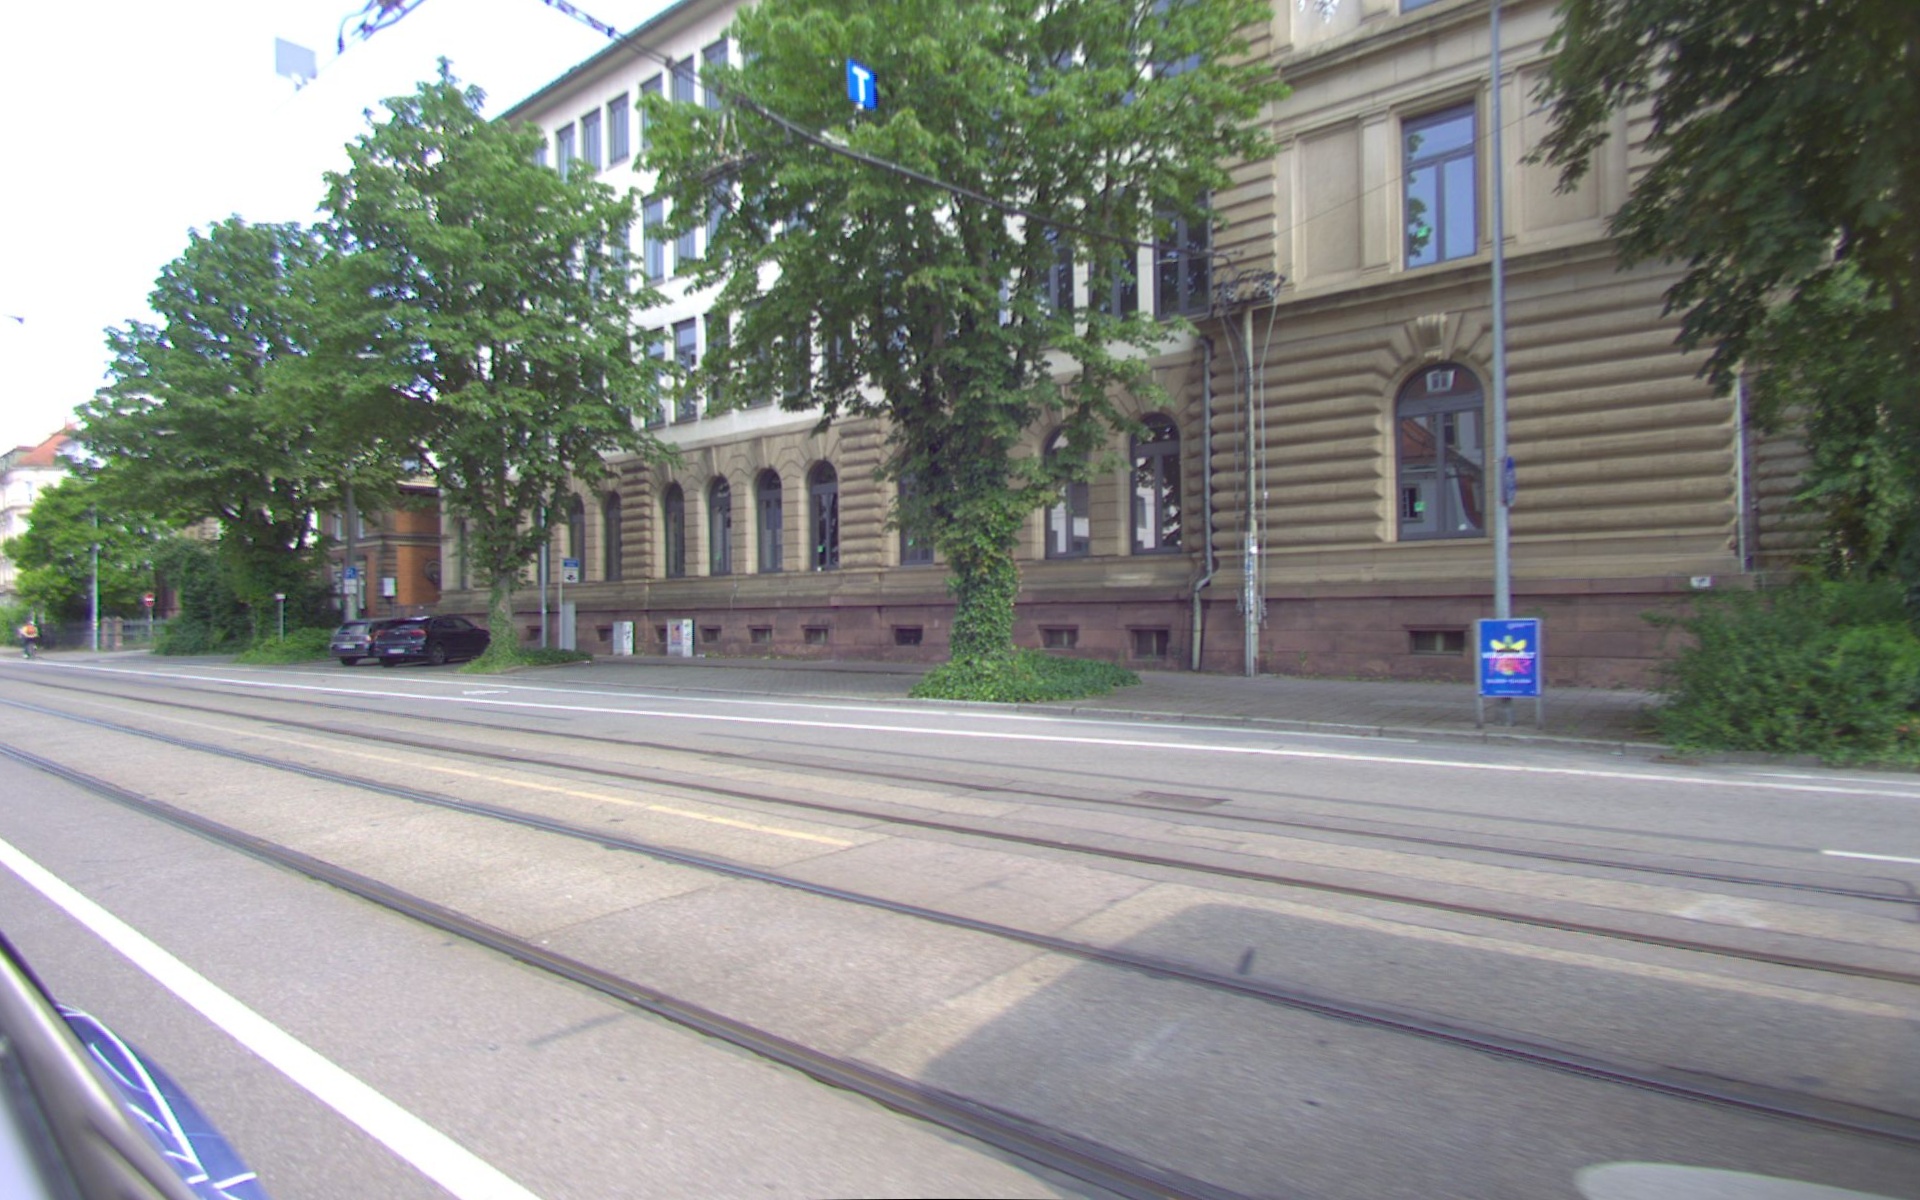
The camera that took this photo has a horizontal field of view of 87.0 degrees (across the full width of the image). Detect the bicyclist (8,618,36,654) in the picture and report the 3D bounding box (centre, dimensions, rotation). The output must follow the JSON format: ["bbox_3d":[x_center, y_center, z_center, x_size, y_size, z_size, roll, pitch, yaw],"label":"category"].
[{"bbox_3d":[-40.946,1.571,44.163,0.866,1.531,0.685,-2,-3,35],"label":"bicyclist"}]

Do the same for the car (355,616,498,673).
[{"bbox_3d":[-16.663,1.342,31.872,1.904,1.562,4.233,-2,0,6],"label":"car"}]

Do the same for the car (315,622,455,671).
[{"bbox_3d":[-18.882,1.490,33.465,1.774,1.458,4.227,-1,-1,10],"label":"car"}]

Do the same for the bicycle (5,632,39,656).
[{"bbox_3d":[-40.890,1.912,44.120,1.815,1.025,0.693,-2,-2,35],"label":"bicycle"}]

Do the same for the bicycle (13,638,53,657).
[{"bbox_3d":[-52.264,2.661,57.060,2.984,0.915,1.132,-1,2,38],"label":"bicycle"}]
